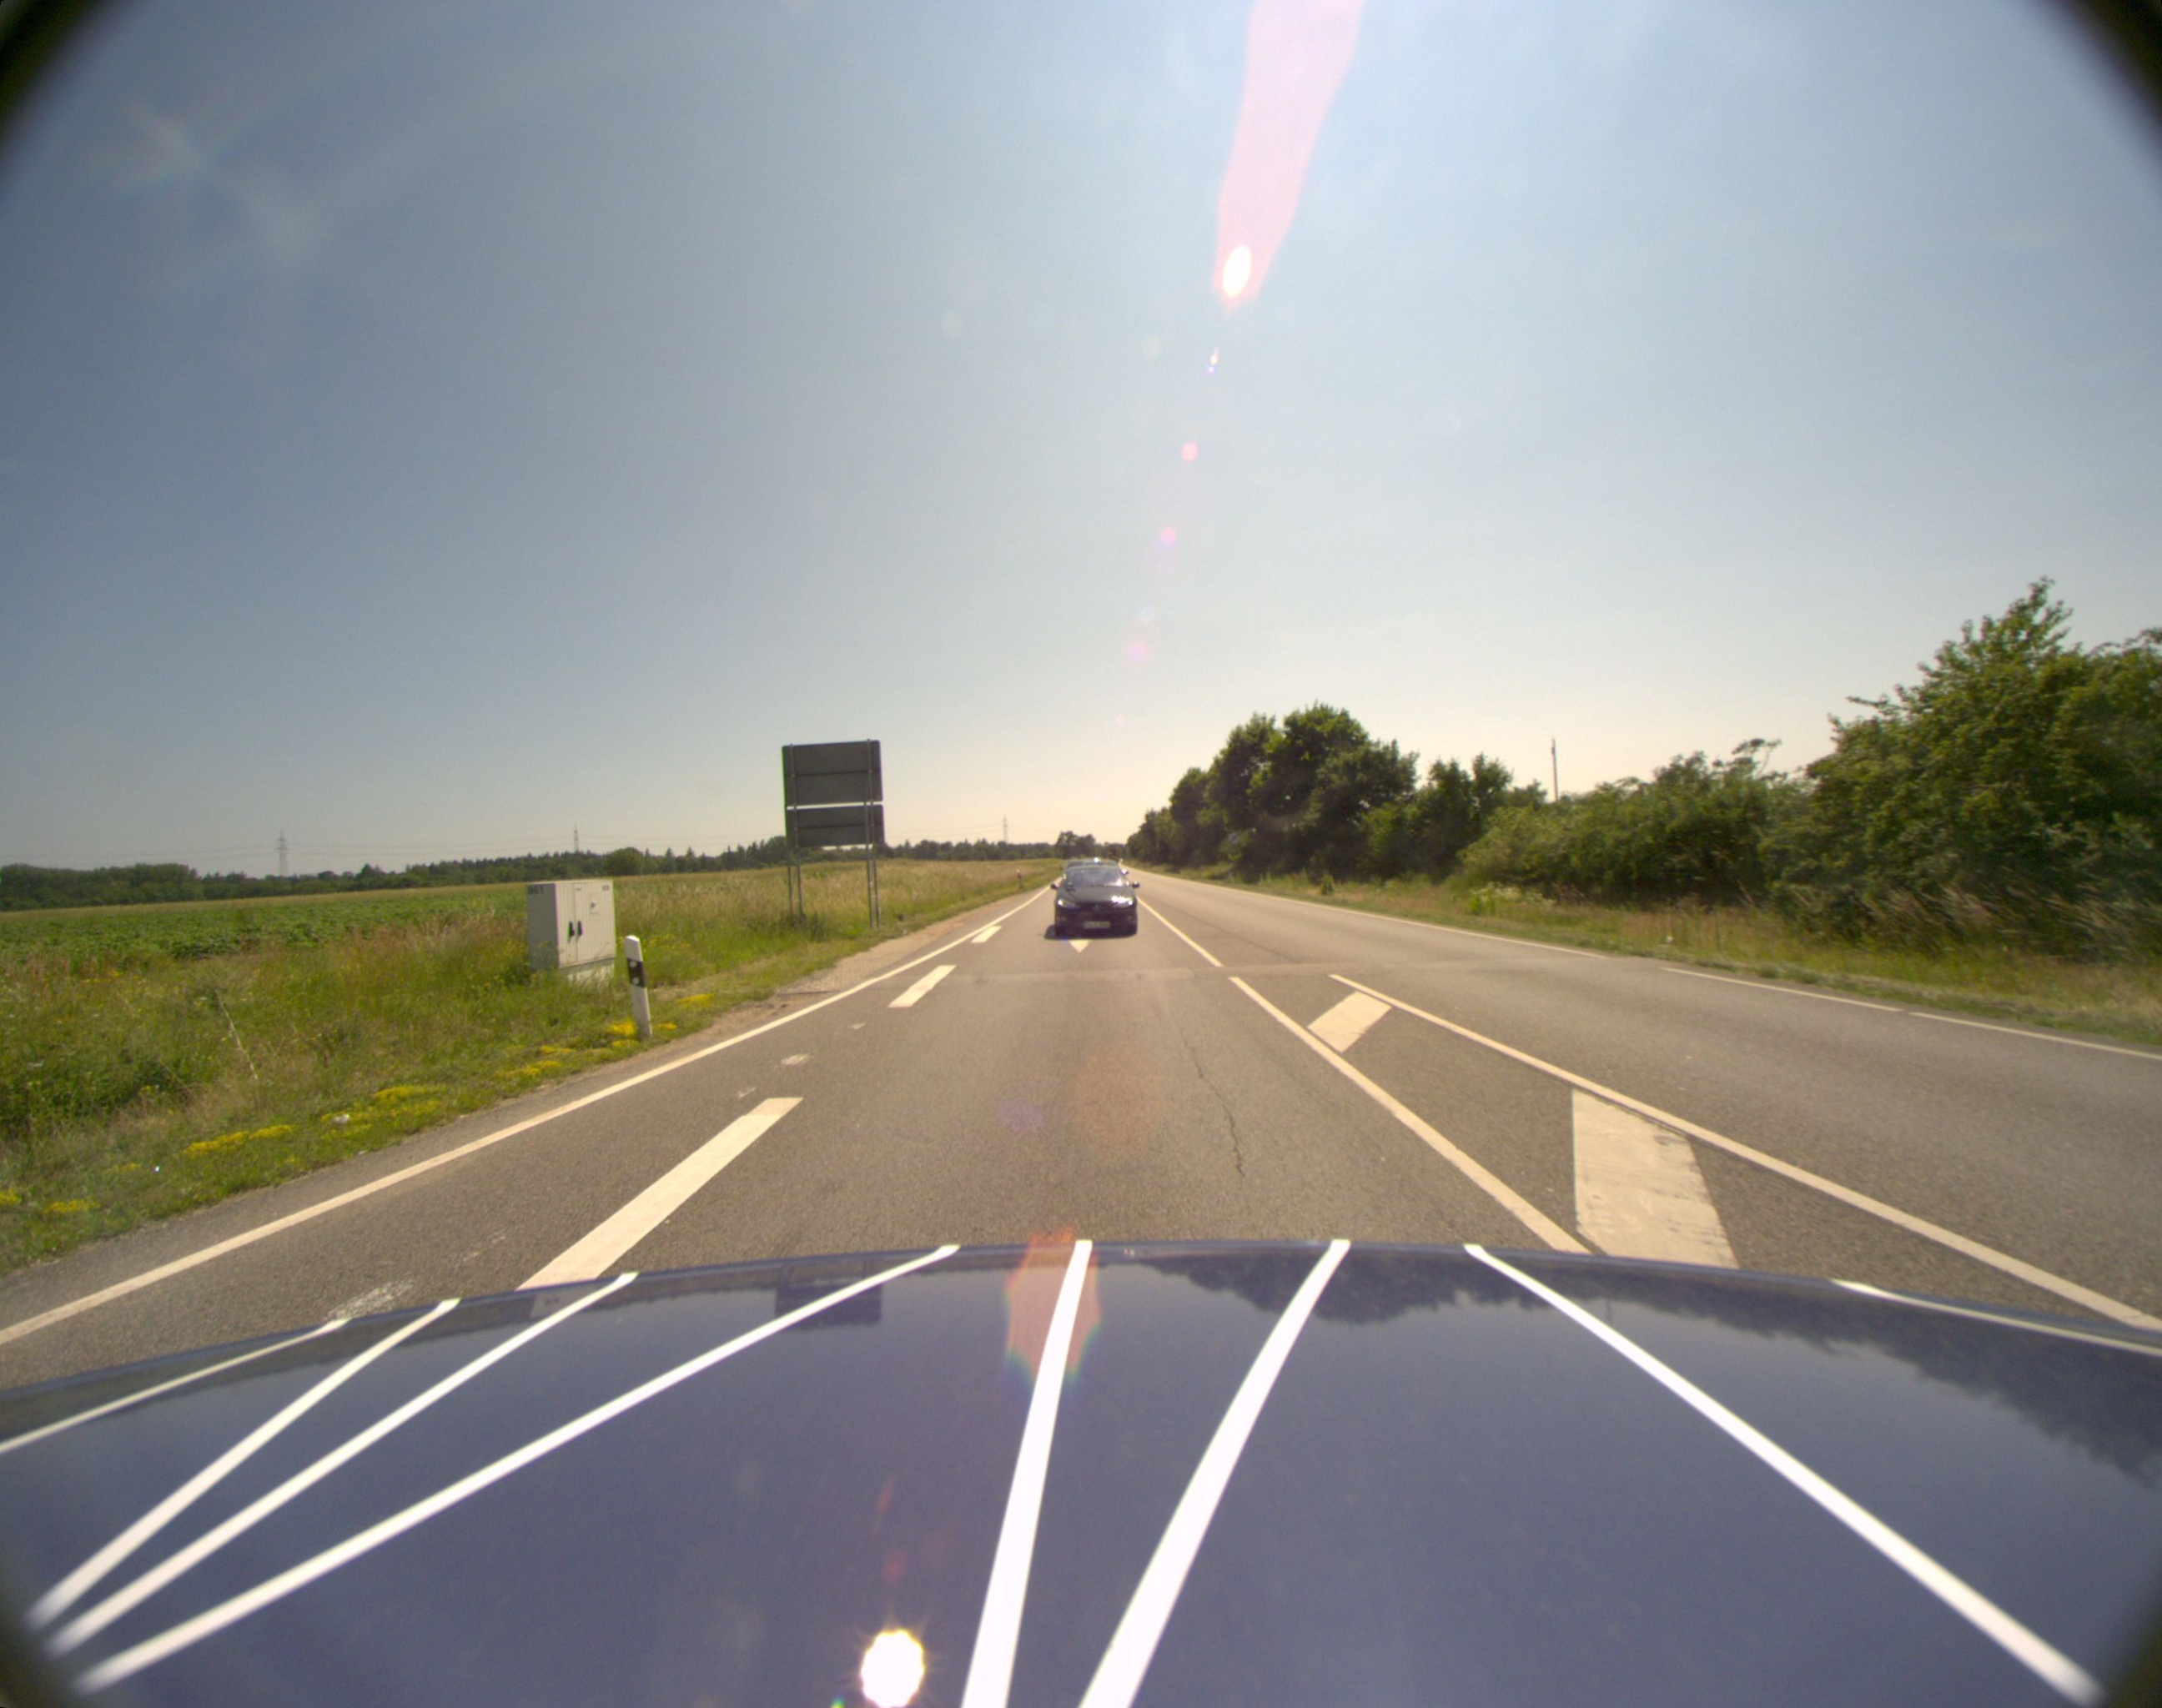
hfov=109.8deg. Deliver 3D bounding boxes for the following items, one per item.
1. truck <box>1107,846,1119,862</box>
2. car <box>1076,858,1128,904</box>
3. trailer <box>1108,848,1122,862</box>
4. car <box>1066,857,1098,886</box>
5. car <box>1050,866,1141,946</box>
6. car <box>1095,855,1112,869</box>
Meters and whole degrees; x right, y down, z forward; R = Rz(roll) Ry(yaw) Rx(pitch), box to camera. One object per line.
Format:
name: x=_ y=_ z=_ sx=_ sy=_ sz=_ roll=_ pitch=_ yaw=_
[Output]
truck: x=8.324 y=0.033 z=197.909 sx=2.709 sy=3.908 sz=5.952 roll=-1 pitch=0 yaw=-1
car: x=0.707 y=0.937 z=27.766 sx=1.665 sy=1.477 sz=3.731 roll=-2 pitch=0 yaw=-2
trailer: x=8.392 y=0.263 z=190.397 sx=2.669 sy=3.440 sz=14.948 roll=-1 pitch=0 yaw=-1
car: x=0.005 y=0.962 z=43.293 sx=1.665 sy=1.449 sz=4.172 roll=-2 pitch=0 yaw=-2
car: x=0.299 y=1.005 z=16.107 sx=1.665 sy=1.389 sz=3.731 roll=-2 pitch=0 yaw=1
car: x=2.192 y=0.734 z=74.637 sx=1.588 sy=1.294 sz=3.631 roll=-2 pitch=0 yaw=1
